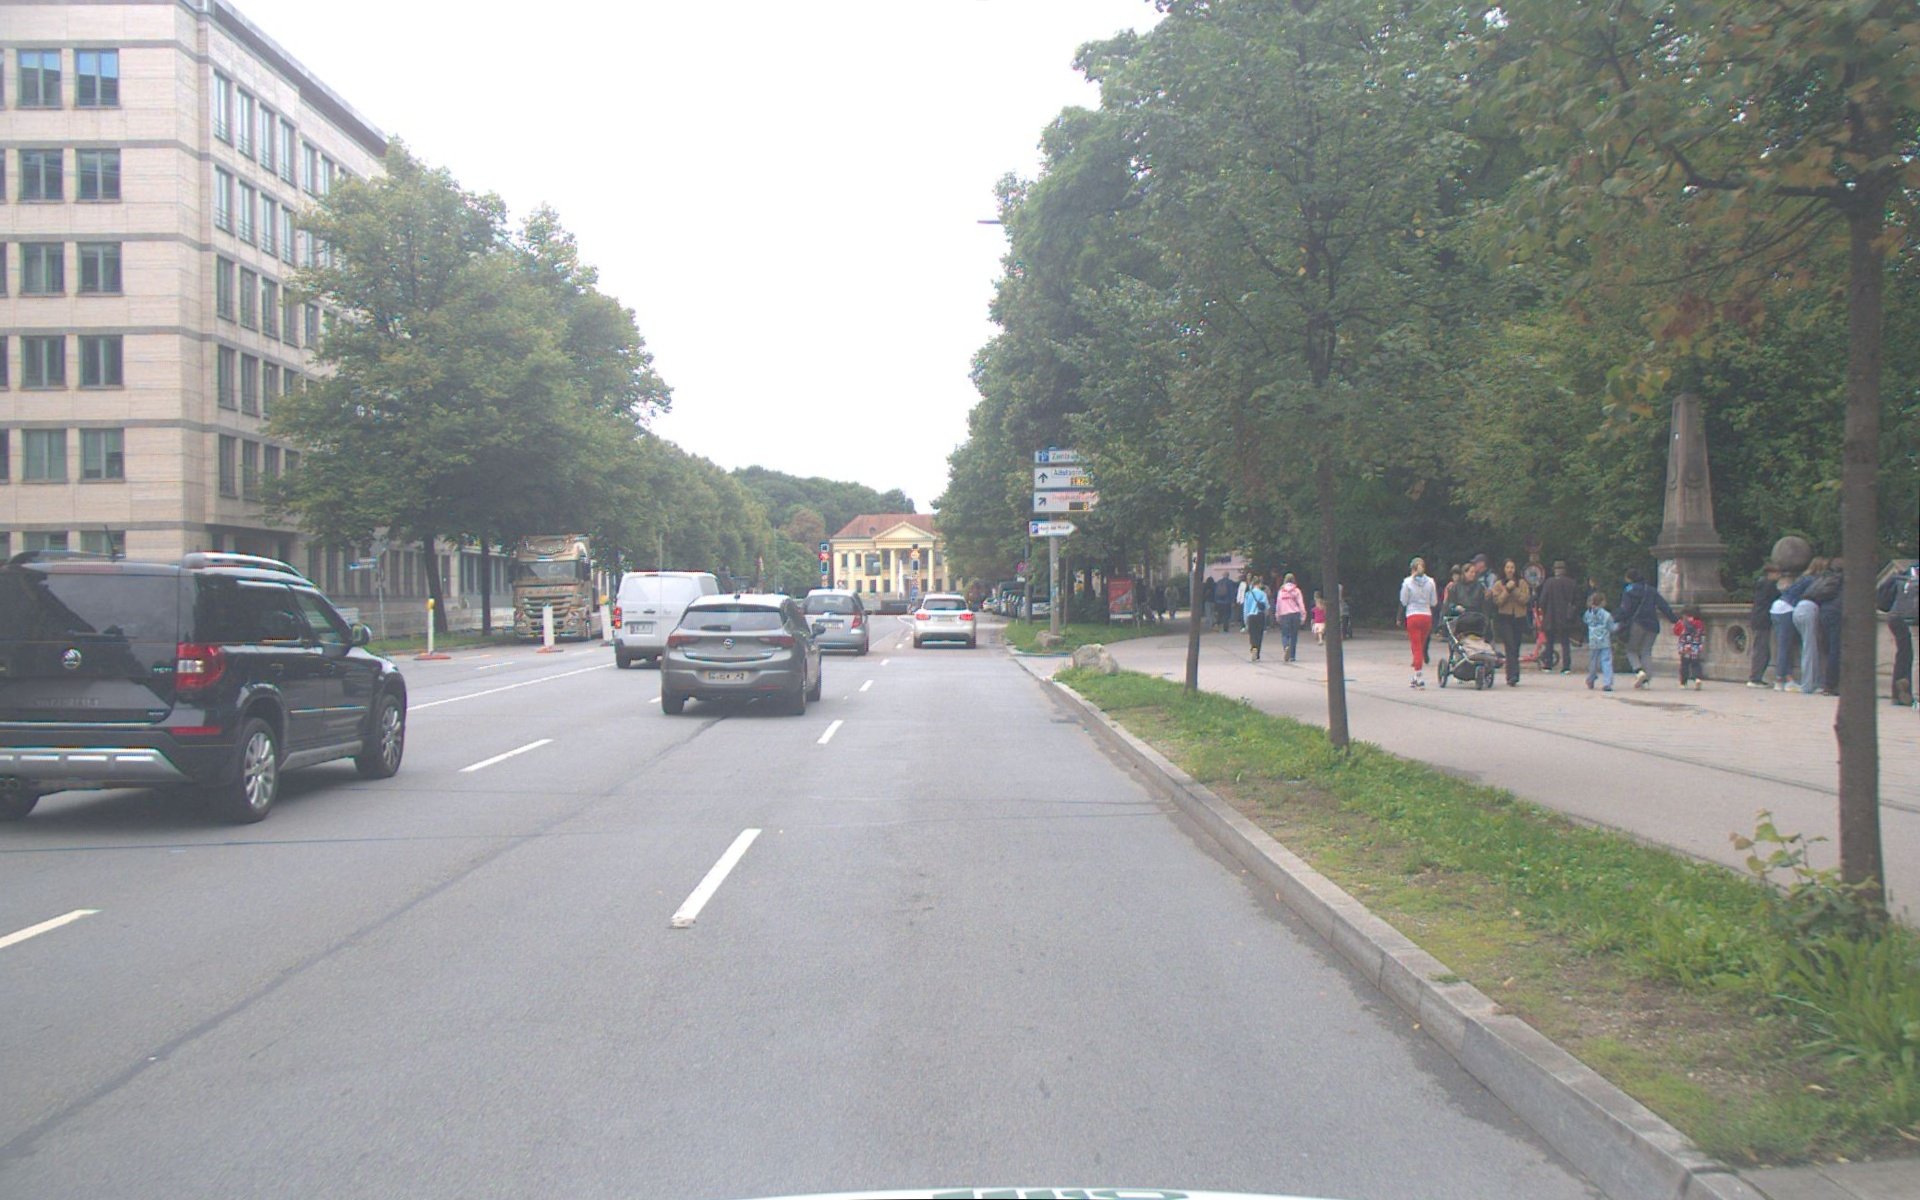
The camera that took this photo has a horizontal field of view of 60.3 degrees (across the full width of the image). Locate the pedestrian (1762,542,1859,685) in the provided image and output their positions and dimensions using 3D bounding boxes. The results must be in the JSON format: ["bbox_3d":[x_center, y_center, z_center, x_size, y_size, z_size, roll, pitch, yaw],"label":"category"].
[{"bbox_3d":[10.585,0.161,20.615,0.795,1.720,0.729,-2,0,2],"label":"pedestrian"}]

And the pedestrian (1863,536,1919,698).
[{"bbox_3d":[10.486,0.170,18.065,0.795,1.720,0.729,-2,0,2],"label":"pedestrian"}]

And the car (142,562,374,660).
[{"bbox_3d":[-19.745,0.291,46.725,5.569,2.581,2.154,-1,0,-5],"label":"car"}]

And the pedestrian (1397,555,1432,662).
[{"bbox_3d":[8.267,0.150,30.058,0.596,1.905,0.693,0,0,16],"label":"pedestrian"}]

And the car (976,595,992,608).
[{"bbox_3d":[2.621,0.197,181.570,1.689,1.347,4.027,-1,0,0],"label":"car"}]

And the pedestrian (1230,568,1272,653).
[{"bbox_3d":[5.838,0.203,33.145,0.738,1.672,0.850,0,0,15],"label":"pedestrian"}]

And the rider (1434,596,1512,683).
[{"bbox_3d":[6.941,0.516,22.431,0.748,1.131,1.245,0,0,4],"label":"rider"}]

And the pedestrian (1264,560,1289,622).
[{"bbox_3d":[9.518,-0.269,49.741,0.576,1.854,0.850,0,0,0],"label":"pedestrian"}]

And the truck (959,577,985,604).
[{"bbox_3d":[1.545,-1.231,219.047,3.257,3.426,8.661,0,0,0],"label":"truck"}]

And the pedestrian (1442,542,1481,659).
[{"bbox_3d":[8.450,0.004,27.887,0.596,1.948,0.693,0,0,16],"label":"pedestrian"}]

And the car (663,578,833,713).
[{"bbox_3d":[-2.648,0.529,21.474,1.675,1.579,4.000,0,0,0],"label":"car"}]

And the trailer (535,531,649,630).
[{"bbox_3d":[-15.326,-0.796,69.819,2.891,3.805,11.761,0,0,-4],"label":"trailer"}]

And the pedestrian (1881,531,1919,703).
[{"bbox_3d":[9.930,0.170,16.959,0.579,1.720,0.729,0,0,2],"label":"pedestrian"}]

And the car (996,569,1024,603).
[{"bbox_3d":[4.065,-1.152,134.497,1.953,2.689,4.876,0,0,-2],"label":"car"}]

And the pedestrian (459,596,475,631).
[{"bbox_3d":[-25.124,0.699,84.236,0.566,1.762,0.764,0,0,0],"label":"pedestrian"}]

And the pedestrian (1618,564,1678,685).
[{"bbox_3d":[8.999,0.312,21.651,0.538,1.554,0.648,0,0,4],"label":"pedestrian"}]

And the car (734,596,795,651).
[{"bbox_3d":[-6.276,0.724,53.484,1.744,1.683,3.997,0,0,-4],"label":"car"}]

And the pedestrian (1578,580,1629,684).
[{"bbox_3d":[8.479,0.410,21.815,0.448,1.349,0.648,0,0,4],"label":"pedestrian"}]

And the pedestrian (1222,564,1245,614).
[{"bbox_3d":[9.844,-0.390,59.448,0.738,1.767,0.850,0,0,15],"label":"pedestrian"}]

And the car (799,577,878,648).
[{"bbox_3d":[-2.993,0.287,41.412,1.743,1.683,3.999,0,0,-1],"label":"car"}]

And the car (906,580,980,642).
[{"bbox_3d":[-0.526,0.288,46.892,1.745,1.673,3.995,0,0,-6],"label":"car"}]

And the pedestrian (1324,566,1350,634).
[{"bbox_3d":[9.441,-0.007,41.425,0.618,1.696,0.573,0,0,15],"label":"pedestrian"}]

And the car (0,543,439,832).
[{"bbox_3d":[-5.184,0.515,11.748,1.687,1.665,4.204,-1,0,-1],"label":"car"}]

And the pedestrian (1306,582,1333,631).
[{"bbox_3d":[8.643,0.161,39.750,0.618,1.156,0.573,0,0,15],"label":"pedestrian"}]

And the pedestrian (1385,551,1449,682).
[{"bbox_3d":[6.119,0.214,22.176,0.711,1.720,0.648,0,0,4],"label":"pedestrian"}]

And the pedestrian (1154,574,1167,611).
[{"bbox_3d":[9.171,-0.355,75.751,0.568,1.705,0.553,0,0,3],"label":"pedestrian"}]

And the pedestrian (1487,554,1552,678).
[{"bbox_3d":[7.867,0.223,23.266,0.711,1.720,0.648,0,0,4],"label":"pedestrian"}]

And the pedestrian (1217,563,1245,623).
[{"bbox_3d":[8.053,-0.217,49.202,0.738,1.767,0.850,0,0,15],"label":"pedestrian"}]

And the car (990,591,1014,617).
[{"bbox_3d":[3.238,0.285,127.612,1.689,1.900,4.027,-1,0,0],"label":"car"}]

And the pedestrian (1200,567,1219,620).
[{"bbox_3d":[8.601,-0.227,57.035,0.595,1.794,0.797,0,0,3],"label":"pedestrian"}]

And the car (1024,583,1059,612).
[{"bbox_3d":[4.712,-0.159,96.626,1.790,1.577,4.751,-1,0,0],"label":"car"}]

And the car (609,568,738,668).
[{"bbox_3d":[-5.812,0.339,34.122,1.860,1.880,4.954,-1,0,-1],"label":"car"}]

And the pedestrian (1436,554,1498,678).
[{"bbox_3d":[7.159,0.217,23.376,0.711,1.720,0.648,0,0,4],"label":"pedestrian"}]

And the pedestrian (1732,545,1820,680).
[{"bbox_3d":[10.642,0.157,21.601,0.795,1.720,0.729,0,0,2],"label":"pedestrian"}]

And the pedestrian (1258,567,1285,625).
[{"bbox_3d":[9.072,-0.114,48.157,0.738,1.672,0.691,0,0,15],"label":"pedestrian"}]

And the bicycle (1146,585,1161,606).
[{"bbox_3d":[13.199,-0.308,112.822,0.685,1.440,2.298,-1,0,0],"label":"bicycle"}]

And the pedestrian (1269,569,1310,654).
[{"bbox_3d":[6.582,0.224,33.034,0.738,1.672,0.850,0,0,15],"label":"pedestrian"}]

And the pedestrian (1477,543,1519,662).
[{"bbox_3d":[8.746,0.033,26.906,0.596,1.905,0.693,0,0,16],"label":"pedestrian"}]

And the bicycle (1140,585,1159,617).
[{"bbox_3d":[6.239,0.033,54.618,0.376,1.039,2.079,0,0,0],"label":"bicycle"}]

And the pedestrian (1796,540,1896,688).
[{"bbox_3d":[10.609,0.164,19.824,0.795,1.720,0.729,-1,0,2],"label":"pedestrian"}]

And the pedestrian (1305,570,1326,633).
[{"bbox_3d":[9.021,0.038,41.977,0.474,1.593,0.573,0,0,15],"label":"pedestrian"}]

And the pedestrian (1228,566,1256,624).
[{"bbox_3d":[8.219,-0.153,48.130,0.738,1.672,0.651,0,0,15],"label":"pedestrian"}]

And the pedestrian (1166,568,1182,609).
[{"bbox_3d":[9.429,-0.509,72.936,0.617,1.805,0.782,0,0,3],"label":"pedestrian"}]

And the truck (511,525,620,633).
[{"bbox_3d":[-14.824,-0.769,62.701,2.859,3.840,7.658,0,0,-5],"label":"truck"}]

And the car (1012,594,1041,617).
[{"bbox_3d":[4.379,0.352,108.937,1.689,1.490,4.775,-1,0,0],"label":"car"}]

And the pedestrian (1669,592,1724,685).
[{"bbox_3d":[9.547,0.489,21.445,0.448,1.173,0.648,0,0,4],"label":"pedestrian"}]
